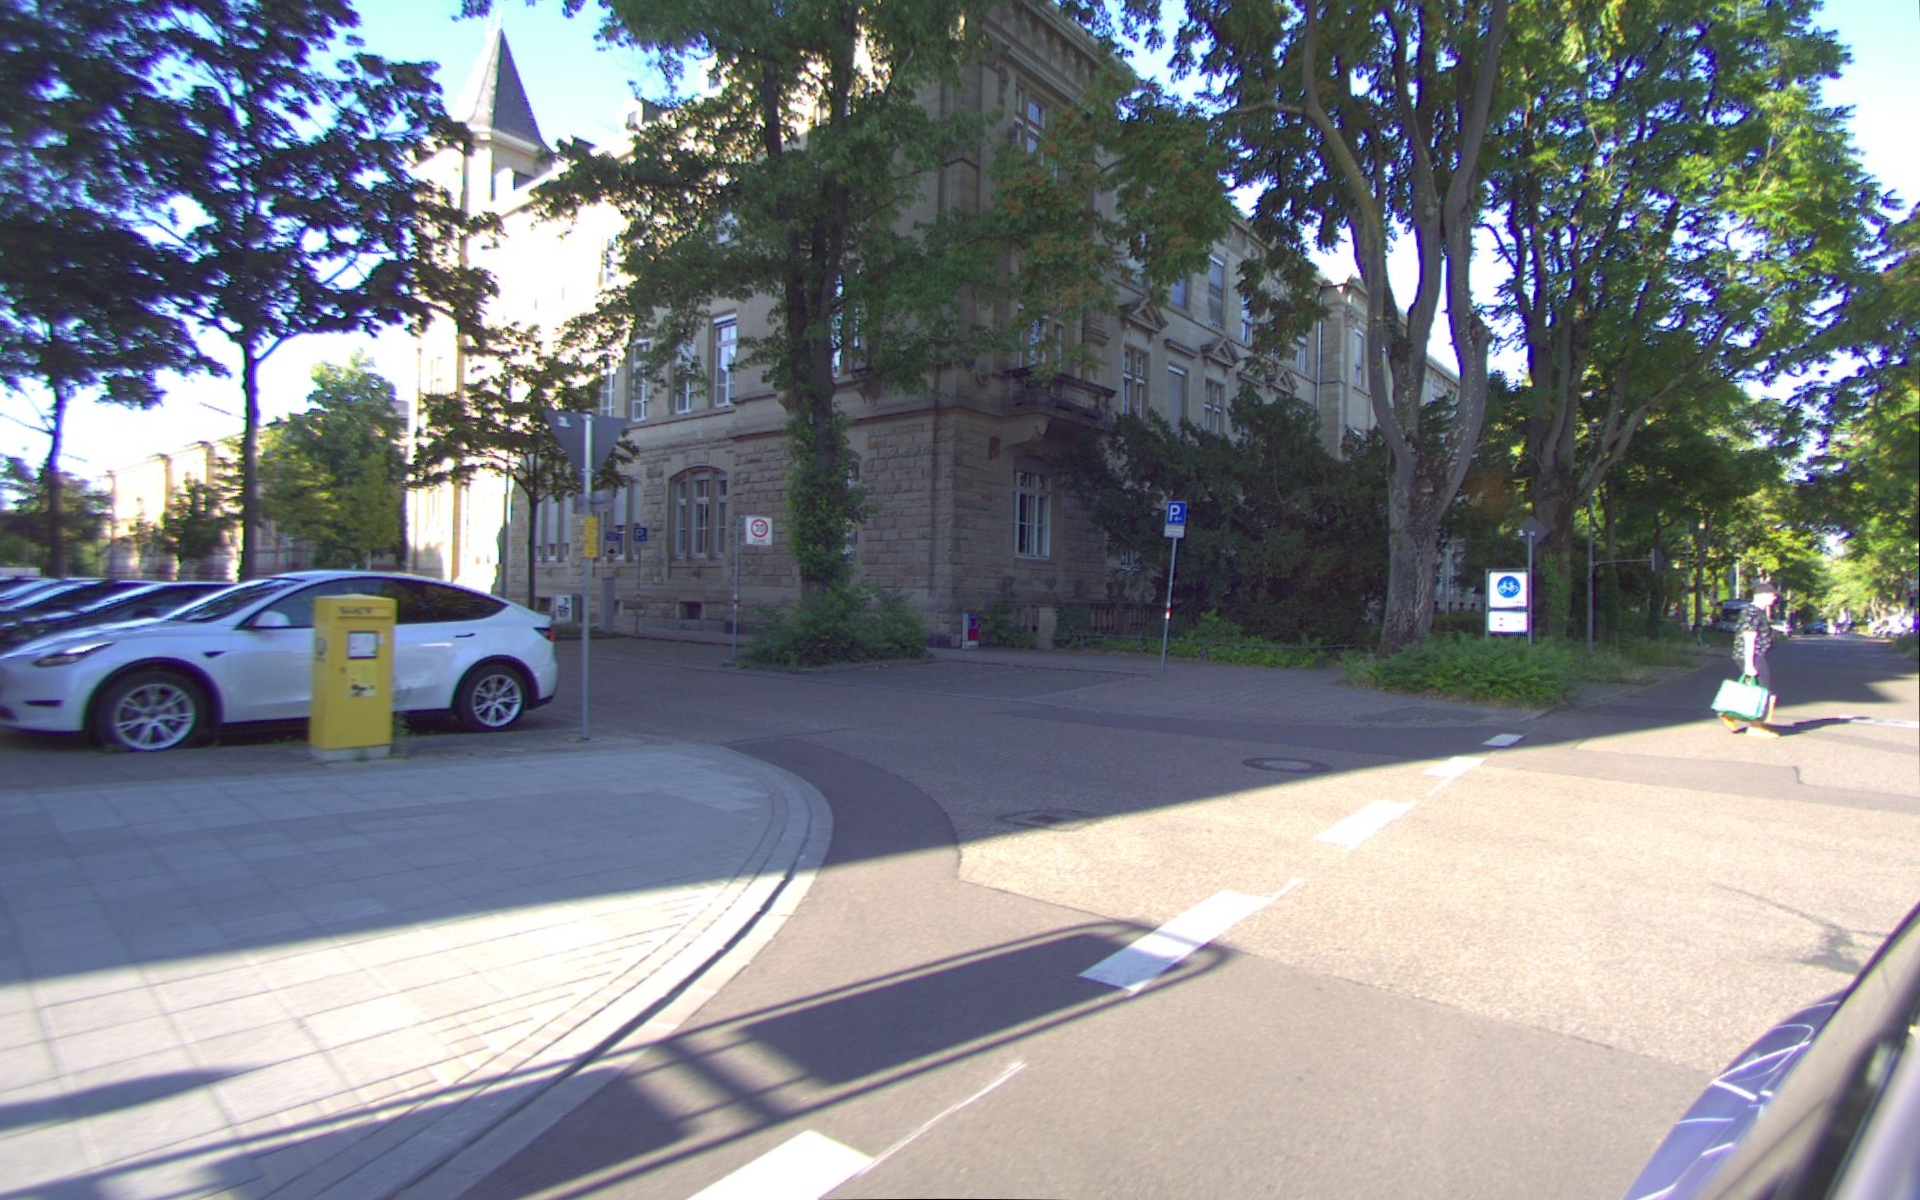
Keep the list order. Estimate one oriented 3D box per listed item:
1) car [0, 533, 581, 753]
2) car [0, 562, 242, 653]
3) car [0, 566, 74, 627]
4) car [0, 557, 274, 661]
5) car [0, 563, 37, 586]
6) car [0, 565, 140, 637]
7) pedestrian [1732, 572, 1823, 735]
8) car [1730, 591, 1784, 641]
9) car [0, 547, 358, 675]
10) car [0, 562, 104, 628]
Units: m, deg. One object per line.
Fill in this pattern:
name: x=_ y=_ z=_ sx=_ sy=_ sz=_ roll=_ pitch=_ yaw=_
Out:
car: x=-6.379 y=0.420 z=9.877 sx=1.956 sy=1.610 sz=4.656 roll=1 pitch=-2 yaw=37
car: x=-15.937 y=0.157 z=18.363 sx=1.956 sy=1.515 sz=4.332 roll=1 pitch=-2 yaw=37
car: x=-25.607 y=-0.166 z=25.704 sx=1.956 sy=1.515 sz=4.332 roll=1 pitch=-2 yaw=37
car: x=-14.009 y=0.171 z=16.429 sx=1.956 sy=1.515 sz=4.332 roll=1 pitch=-2 yaw=37
car: x=-94.284 y=-2.523 z=99.771 sx=1.991 sy=2.130 sz=4.650 roll=1 pitch=0 yaw=40
car: x=-21.248 y=-0.010 z=22.494 sx=1.956 sy=1.515 sz=4.332 roll=1 pitch=-2 yaw=37
pedestrian: x=10.080 y=0.628 z=12.498 sx=0.606 sy=1.942 sz=0.718 roll=1 pitch=1 yaw=17
car: x=43.709 y=0.867 z=55.486 sx=1.946 sy=2.632 sz=4.099 roll=1 pitch=0 yaw=44
car: x=-11.696 y=0.214 z=14.965 sx=1.956 sy=1.605 sz=4.332 roll=1 pitch=-2 yaw=37
car: x=-23.357 y=-0.165 z=23.985 sx=1.956 sy=1.515 sz=4.332 roll=1 pitch=-2 yaw=37
